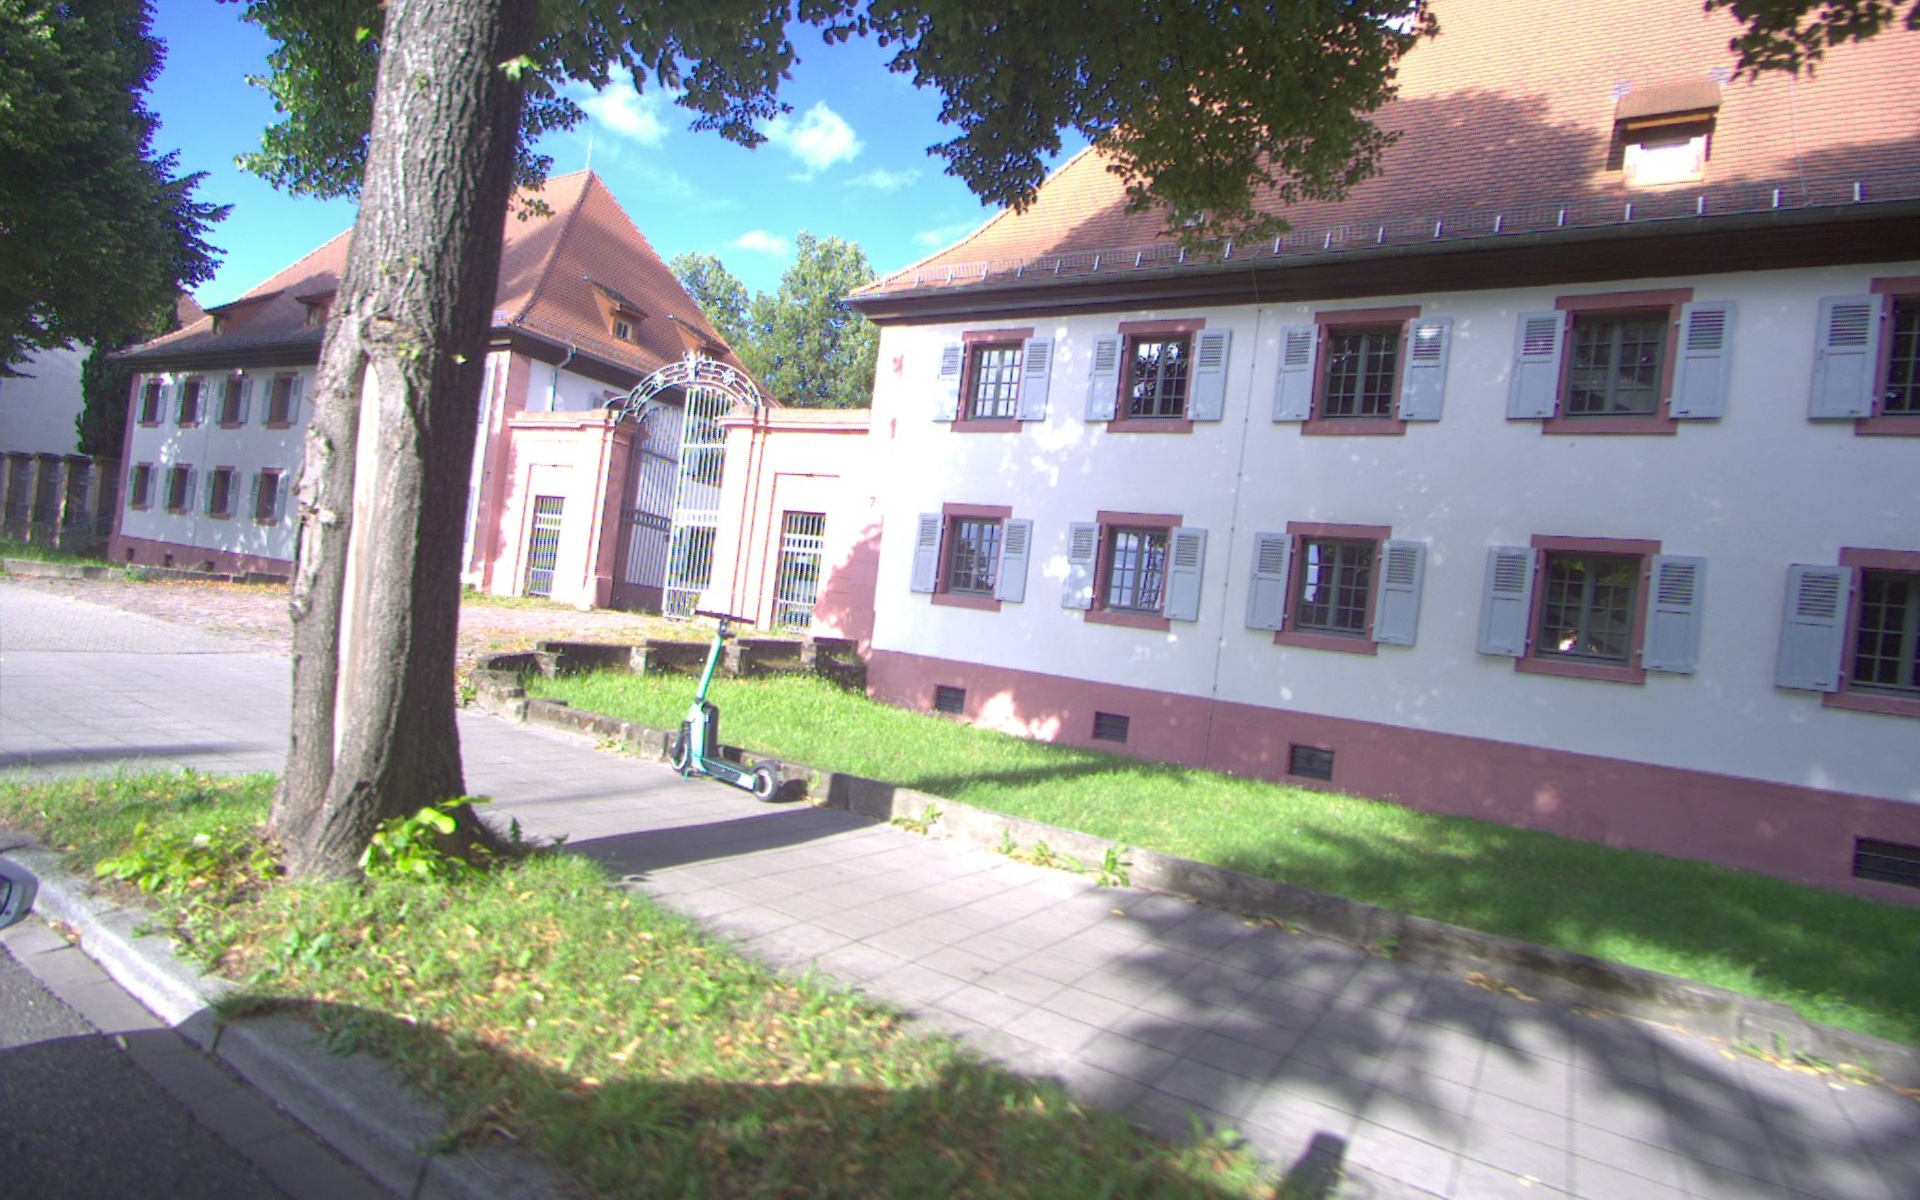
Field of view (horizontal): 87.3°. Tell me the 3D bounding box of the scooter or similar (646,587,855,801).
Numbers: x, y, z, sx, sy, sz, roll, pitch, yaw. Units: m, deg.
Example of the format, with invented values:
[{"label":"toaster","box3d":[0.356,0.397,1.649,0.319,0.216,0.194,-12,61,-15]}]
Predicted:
[{"label":"scooter or similar","box3d":[-1.532,0.638,7.291,1.359,1.308,0.579,7,1,34]}]
